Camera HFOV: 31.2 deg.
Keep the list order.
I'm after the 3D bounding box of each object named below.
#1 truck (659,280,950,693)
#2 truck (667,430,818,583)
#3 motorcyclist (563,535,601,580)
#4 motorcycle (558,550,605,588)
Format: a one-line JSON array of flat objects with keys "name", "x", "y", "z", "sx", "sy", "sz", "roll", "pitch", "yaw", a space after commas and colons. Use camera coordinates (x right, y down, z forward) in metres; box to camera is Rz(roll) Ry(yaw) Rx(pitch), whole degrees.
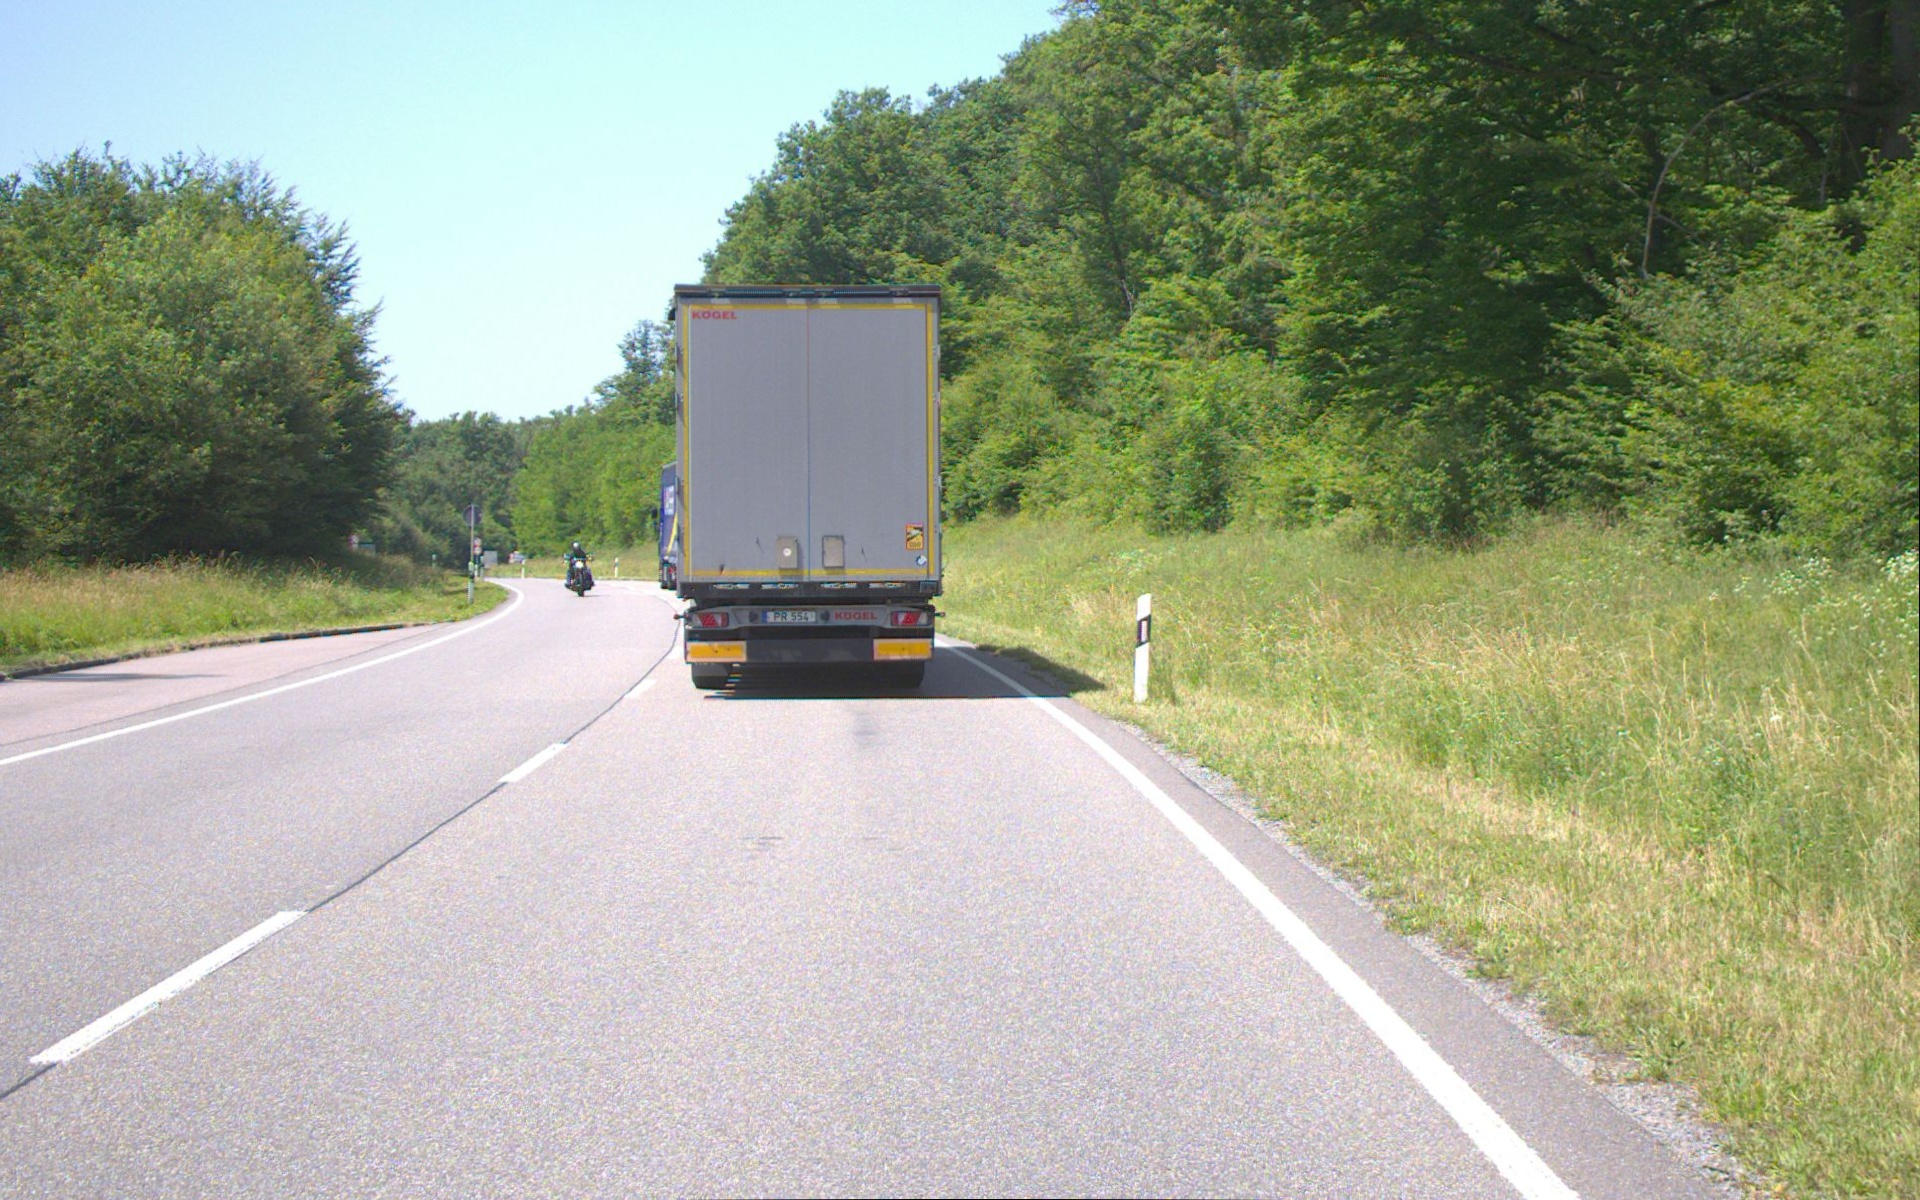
[{"name": "truck", "x": -1.694, "y": -1.180, "z": 38.916, "sx": 2.761, "sy": 3.933, "sz": 12.199, "roll": 0, "pitch": 1, "yaw": -2}, {"name": "truck", "x": -6.932, "y": -2.859, "z": 106.969, "sx": 3.792, "sy": 4.358, "sz": 14.923, "roll": 1, "pitch": 1, "yaw": -7}, {"name": "motorcyclist", "x": -11.023, "y": -1.246, "z": 100.165, "sx": 1.009, "sy": 1.322, "sz": 0.966, "roll": 0, "pitch": 1, "yaw": 0}, {"name": "motorcycle", "x": -11.024, "y": -0.921, "z": 100.200, "sx": 1.014, "sy": 1.059, "sz": 2.772, "roll": -1, "pitch": 1, "yaw": 0}]
